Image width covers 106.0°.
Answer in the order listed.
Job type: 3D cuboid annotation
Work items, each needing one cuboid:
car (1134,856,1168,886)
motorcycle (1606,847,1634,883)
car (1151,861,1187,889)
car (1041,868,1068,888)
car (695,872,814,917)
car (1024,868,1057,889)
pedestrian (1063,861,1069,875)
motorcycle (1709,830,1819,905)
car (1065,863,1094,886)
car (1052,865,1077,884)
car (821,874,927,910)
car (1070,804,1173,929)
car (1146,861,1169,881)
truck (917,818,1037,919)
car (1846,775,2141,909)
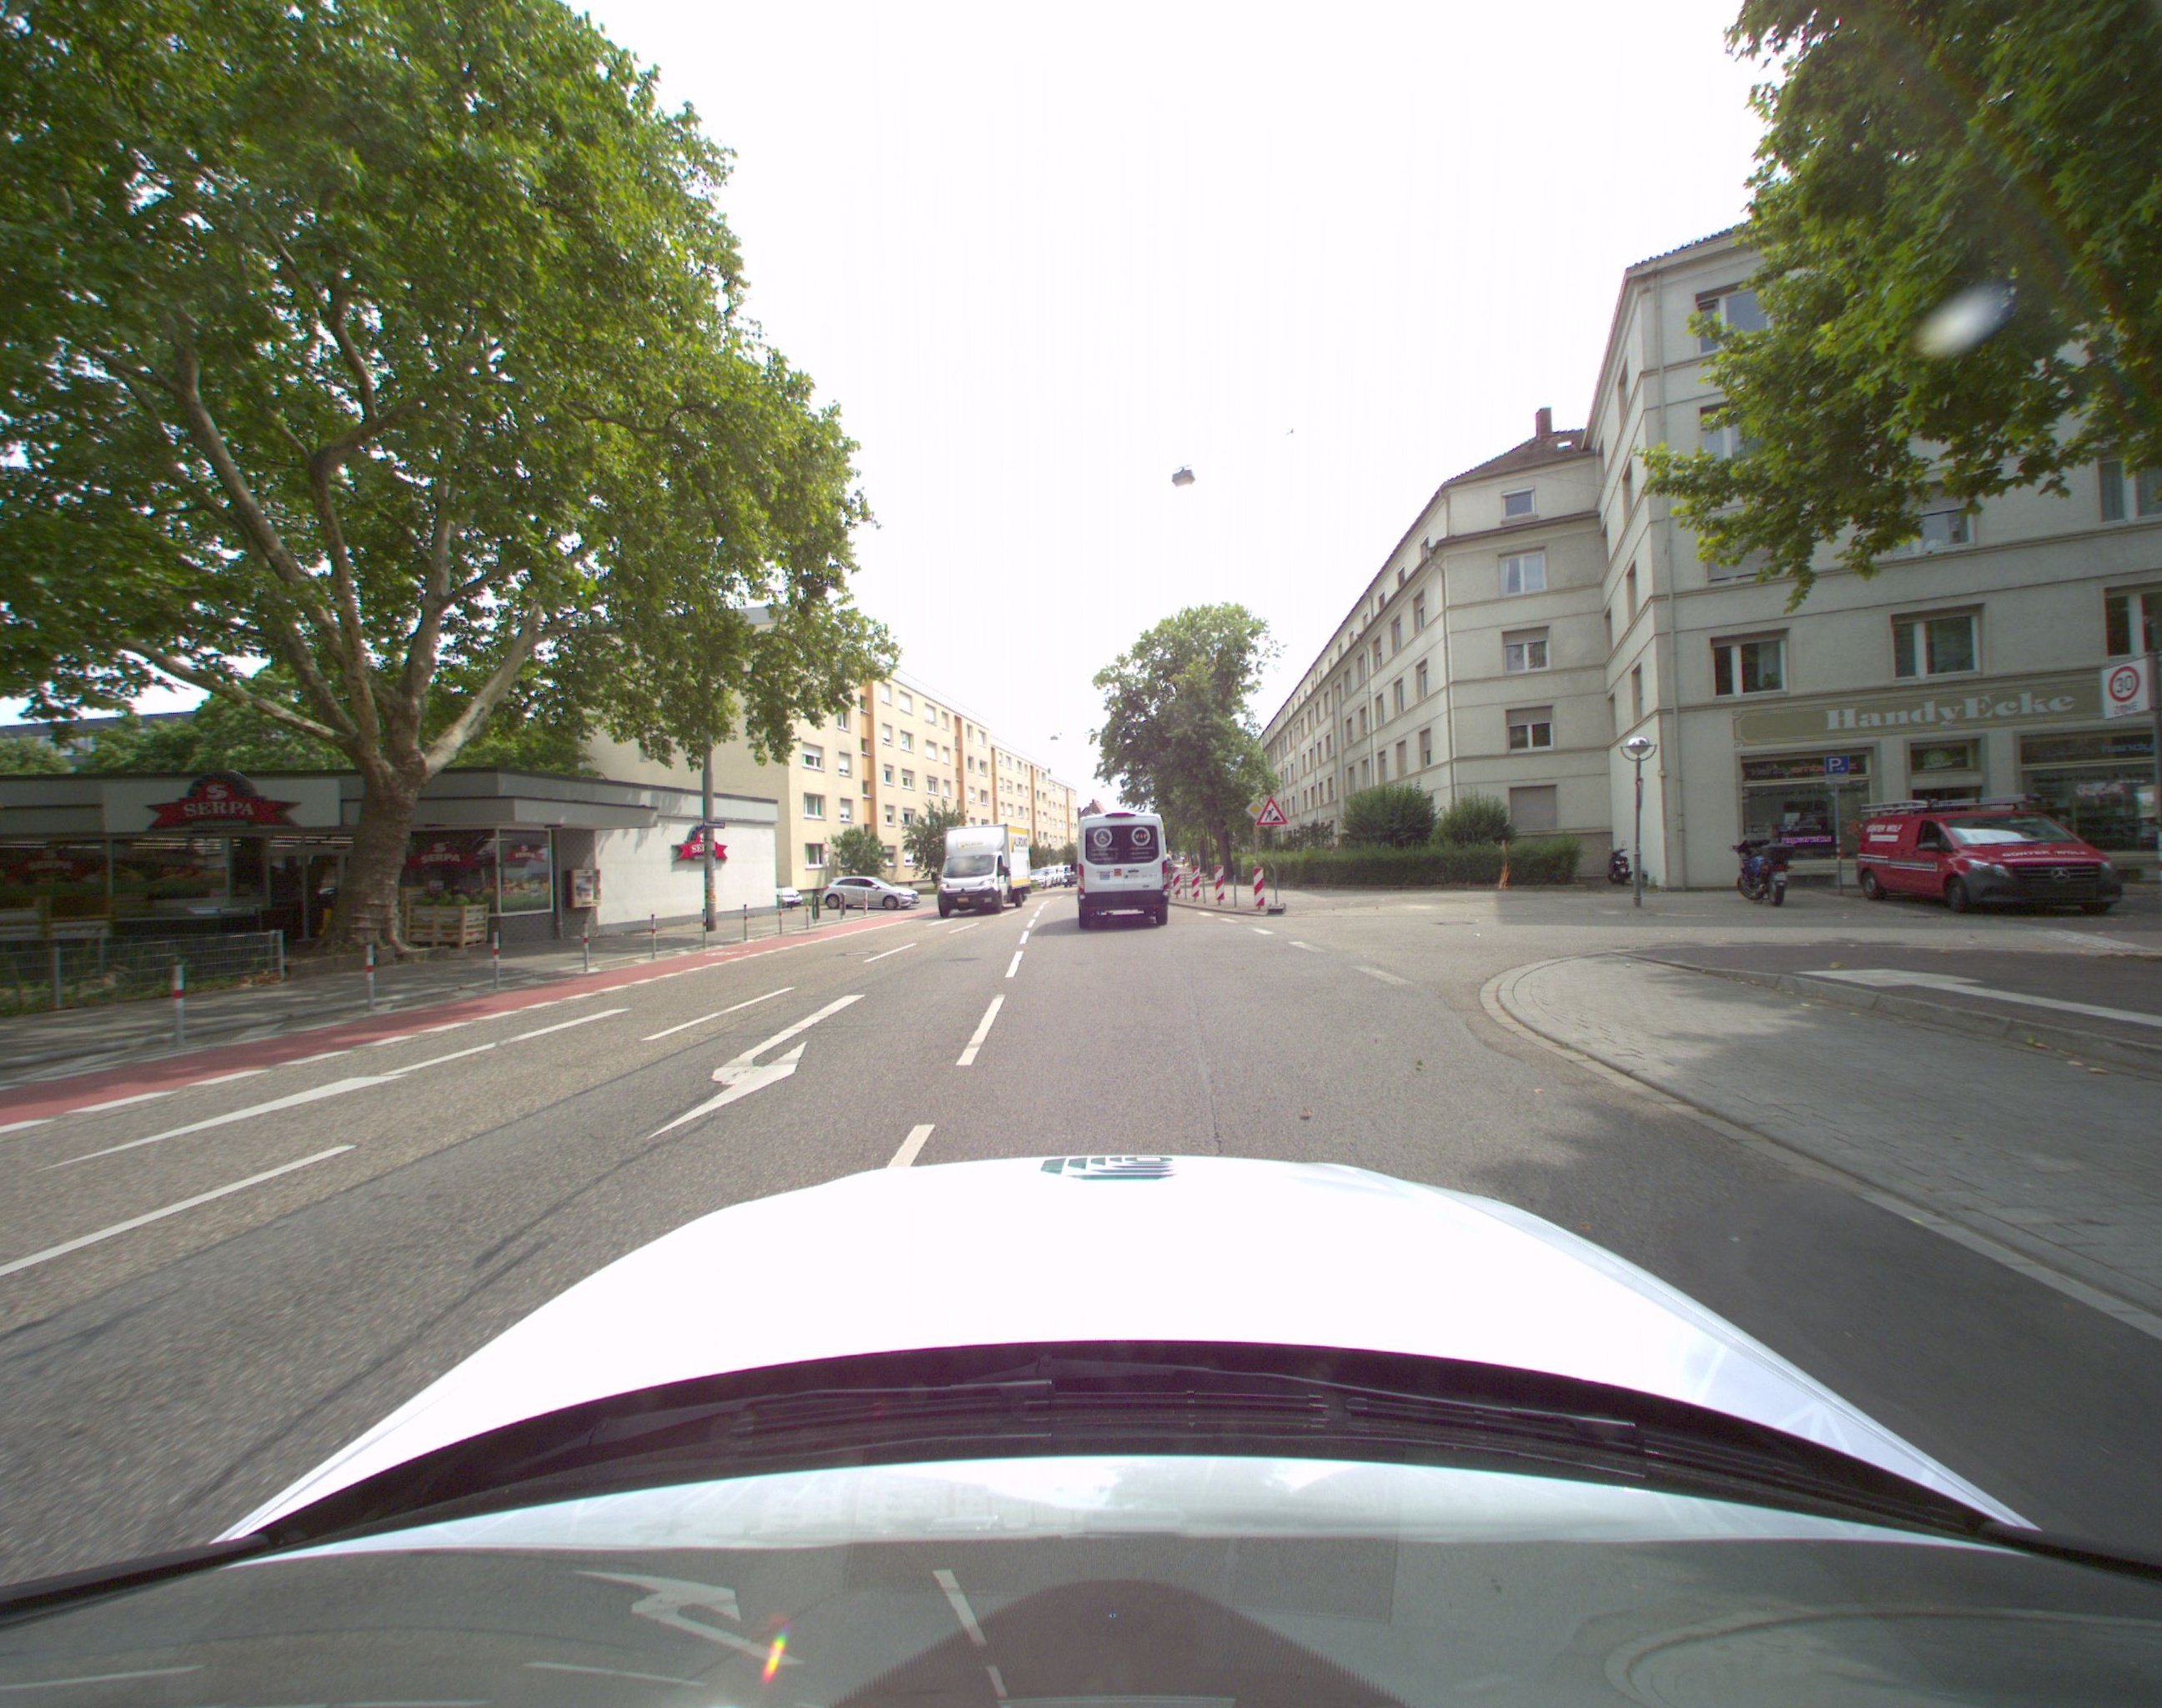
[{"bbox_3d":[4.557,1.052,52.193,1.907,1.865,4.856,-1,-1,8],"label":"car"},{"bbox_3d":[16.473,0.330,24.899,0.428,1.016,1.457,-2,1,23],"label":"motorcycle"},{"bbox_3d":[5.063,1.150,46.526,1.907,1.444,4.248,-2,-1,8],"label":"car"},{"bbox_3d":[-2.106,1.940,66.172,1.700,1.473,3.994,-1,0,5],"label":"car"},{"bbox_3d":[-14.610,1.786,36.467,4.599,1.686,1.855,-3,-1,12],"label":"car"},{"bbox_3d":[-2.987,1.792,60.723,1.699,1.473,3.998,-1,-1,8],"label":"car"},{"bbox_3d":[-1.956,1.811,104.808,0.617,1.813,0.900,-1,-1,4],"label":"pedestrian"},{"bbox_3d":[14.508,0.249,17.390,0.826,1.462,2.314,-2,1,14],"label":"motorcycle"},{"bbox_3d":[-0.072,1.516,61.798,1.689,1.518,4.006,-3,0,5],"label":"car"},{"bbox_3d":[-1.409,1.784,73.178,1.689,1.613,4.484,-1,0,6],"label":"car"},{"bbox_3d":[-9.212,1.675,36.350,4.146,1.451,1.854,1,-1,9],"label":"car"},{"bbox_3d":[1.045,0.307,19.559,2.061,2.540,4.640,-3,-1,5],"label":"car"},{"bbox_3d":[5.786,1.252,61.787,1.689,1.450,4.107,-2,-1,5],"label":"car"},{"bbox_3d":[-3.557,0.482,29.822,2.528,3.107,7.032,-4,-1,6],"label":"truck"},{"bbox_3d":[17.238,-0.186,15.806,1.975,2.150,4.872,-2,-1,25],"label":"car"}]
